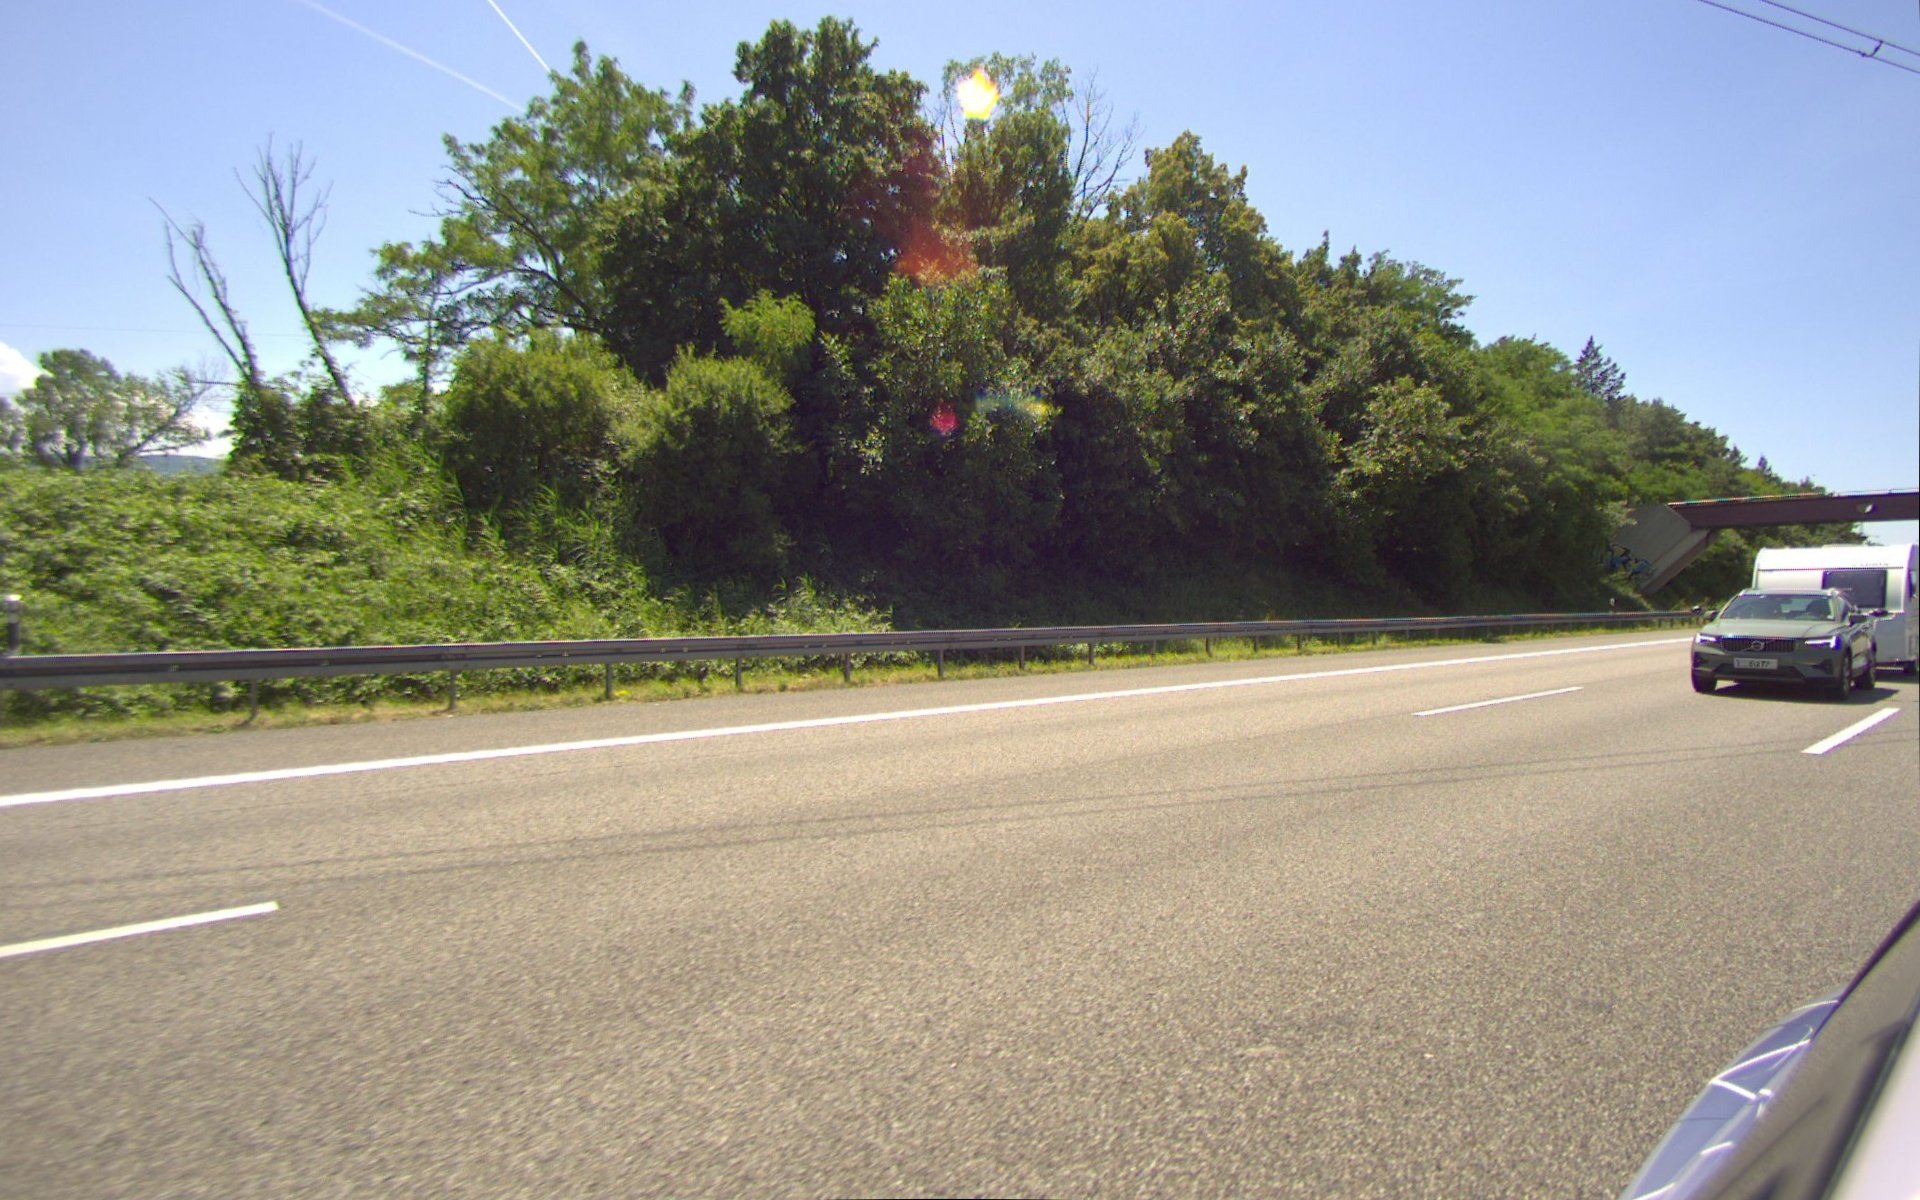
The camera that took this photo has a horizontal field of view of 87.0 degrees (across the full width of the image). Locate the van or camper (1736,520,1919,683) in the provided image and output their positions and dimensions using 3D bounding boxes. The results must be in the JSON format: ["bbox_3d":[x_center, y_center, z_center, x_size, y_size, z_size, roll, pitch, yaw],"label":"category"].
[{"bbox_3d":[17.513,-0.003,19.834,6.238,2.708,2.443,0,1,-41],"label":"van or camper"}]

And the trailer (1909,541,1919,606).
[{"bbox_3d":[64.387,-1.709,66.333,6.674,4.154,2.716,0,1,-43],"label":"trailer"}]

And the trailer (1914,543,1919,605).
[{"bbox_3d":[69.574,-1.747,71.199,12.966,4.154,2.732,0,1,-43],"label":"trailer"}]

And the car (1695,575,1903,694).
[{"bbox_3d":[13.475,0.461,16.156,4.620,1.632,1.882,0,1,-42],"label":"car"}]

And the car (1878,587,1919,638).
[{"bbox_3d":[30.575,0.388,32.026,4.658,1.525,1.842,0,-3,-43],"label":"car"}]
